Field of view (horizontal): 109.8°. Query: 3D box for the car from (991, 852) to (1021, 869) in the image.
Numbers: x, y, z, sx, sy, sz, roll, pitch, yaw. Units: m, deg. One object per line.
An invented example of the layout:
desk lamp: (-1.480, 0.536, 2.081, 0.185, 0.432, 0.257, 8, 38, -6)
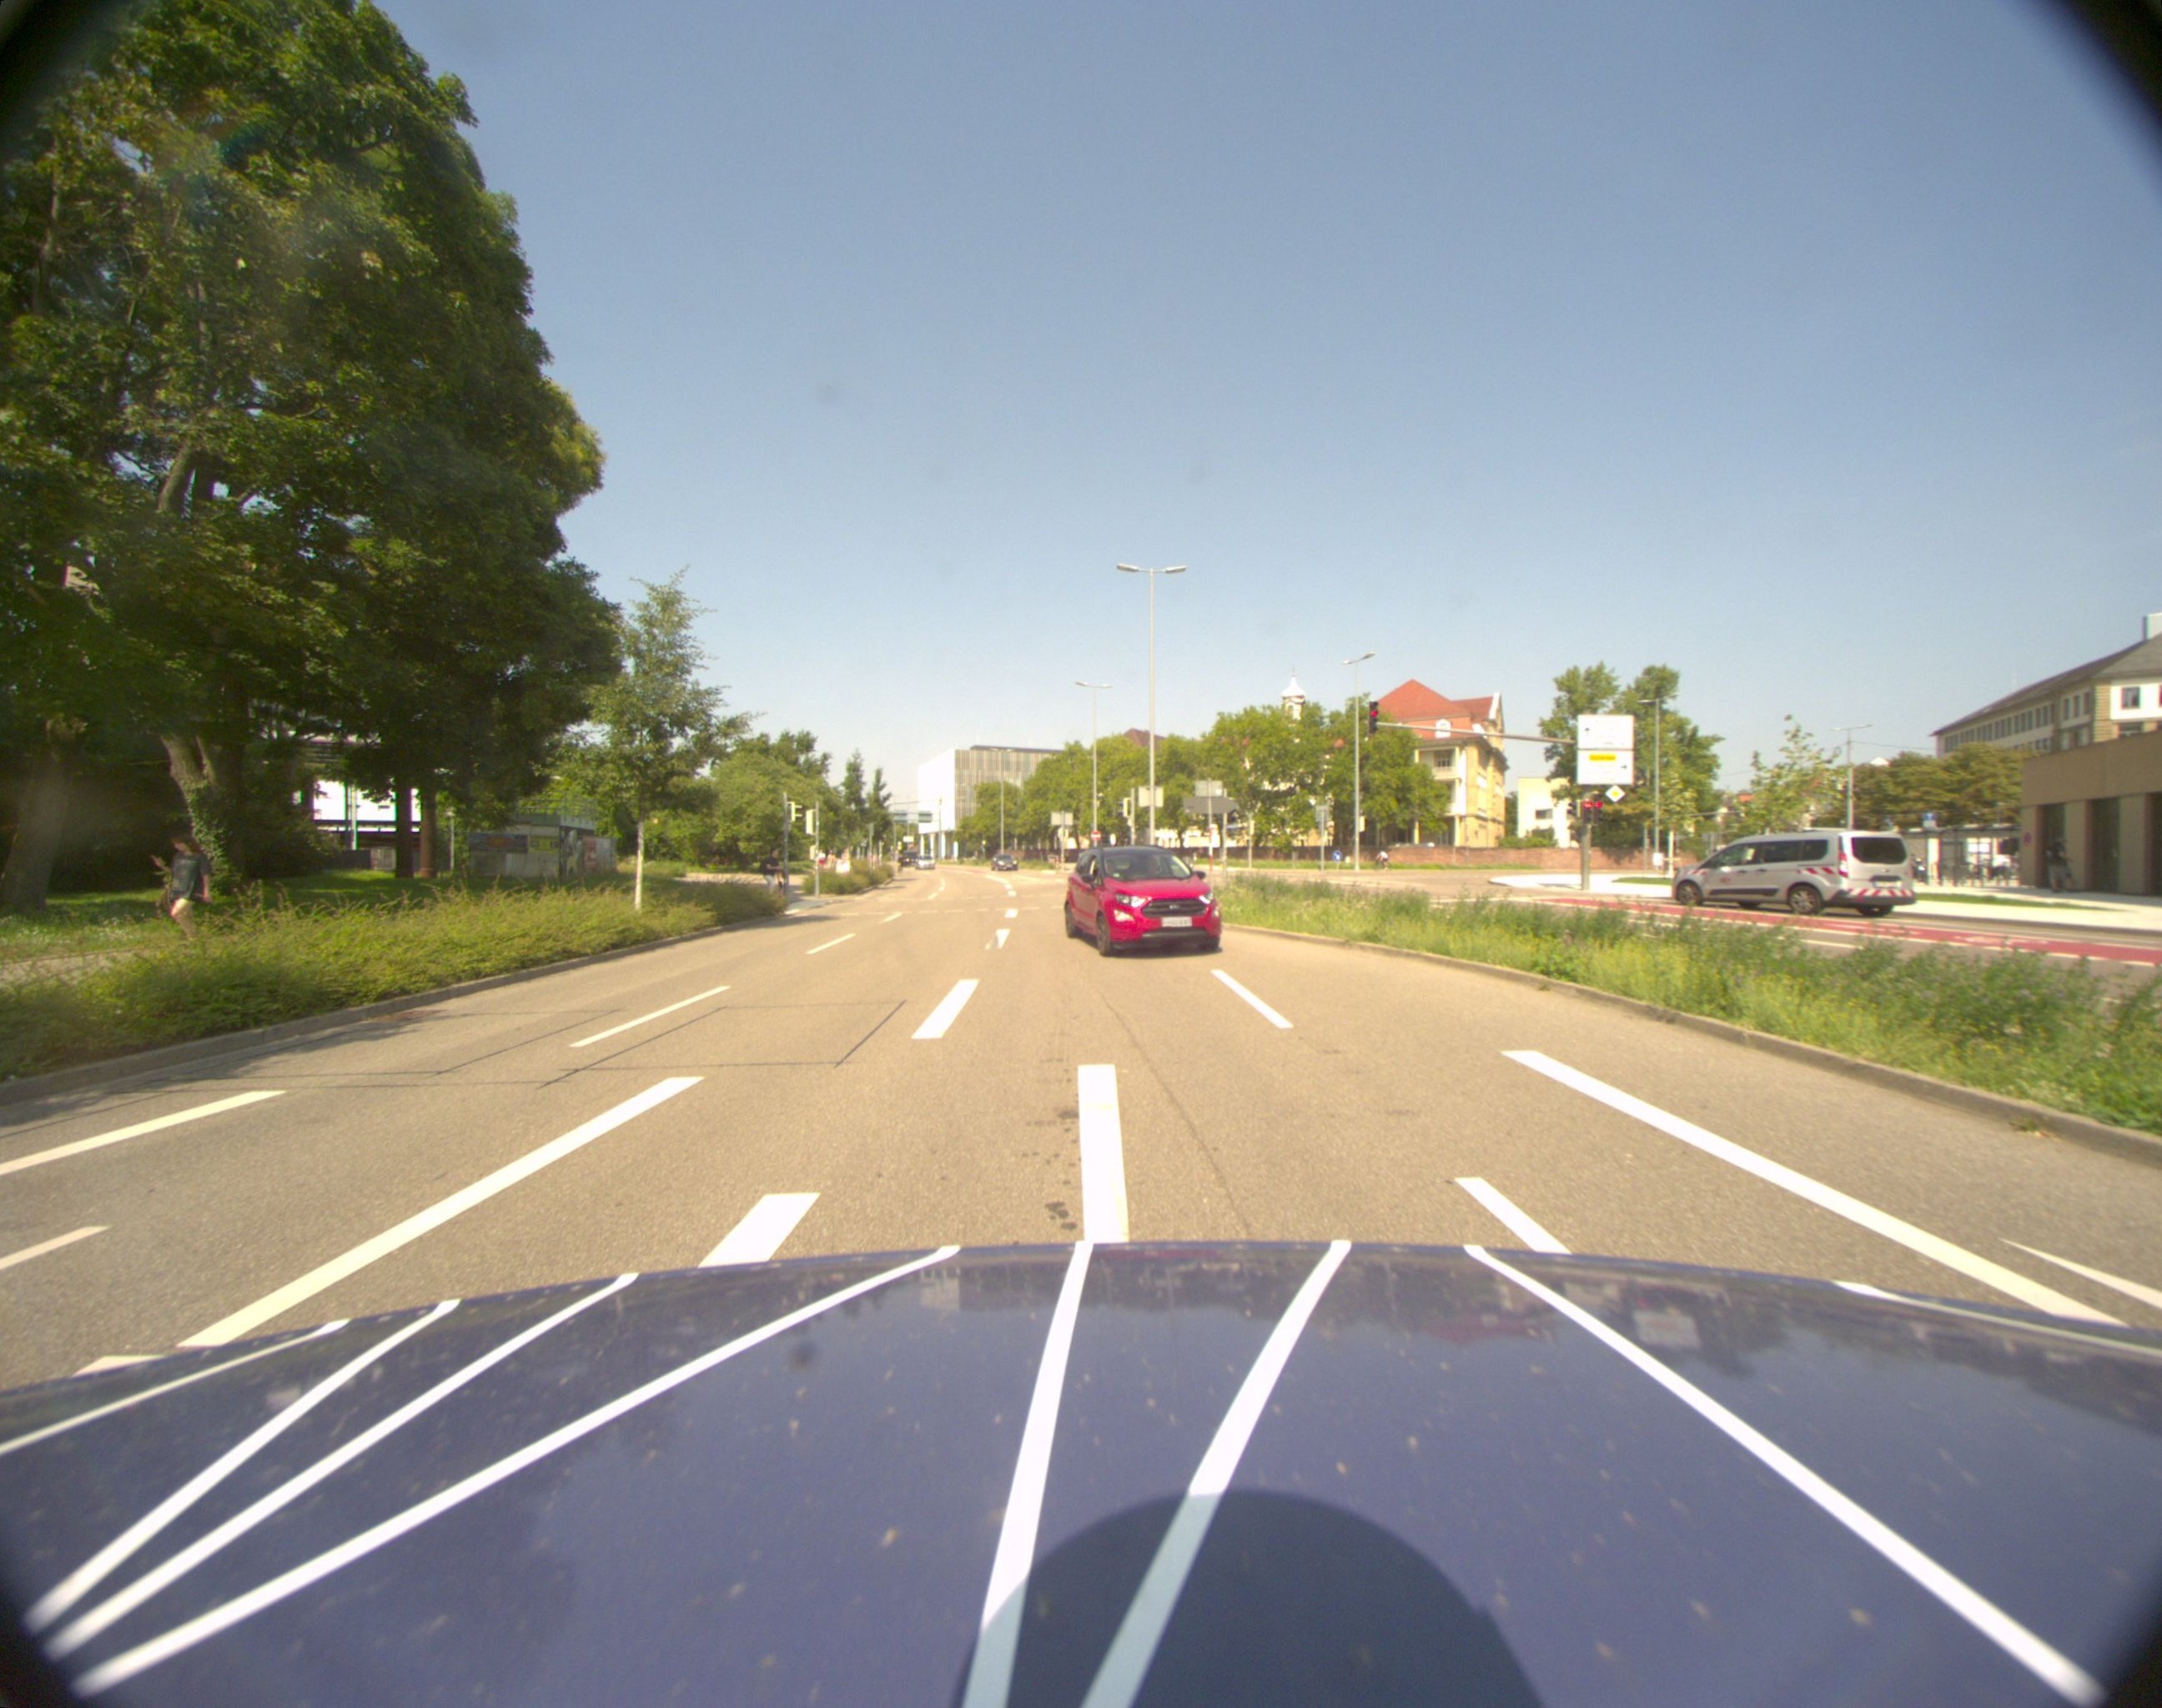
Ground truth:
car: (-6.461, 0.523, 64.894, 1.793, 1.349, 3.418, -2, 1, -18)

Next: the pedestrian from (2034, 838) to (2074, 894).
pedestrian: (29.106, 0.356, 22.739, 0.567, 1.668, 0.537, 1, 1, 32)

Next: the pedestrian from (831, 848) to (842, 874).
pedestrian: (-16.494, 0.450, 51.239, 0.694, 1.761, 0.586, 0, 1, -17)

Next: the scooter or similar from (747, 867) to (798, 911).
scooter or similar: (-9.196, 1.034, 22.660, 1.365, 1.227, 0.586, 1, 1, 18)

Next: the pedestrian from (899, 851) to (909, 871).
pedestrian: (-14.534, 0.552, 62.515, 0.781, 1.659, 0.548, 0, 1, -18)

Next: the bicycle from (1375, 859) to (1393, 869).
bicycle: (24.301, 0.786, 60.911, 1.488, 0.807, 0.436, 0, 1, -24)

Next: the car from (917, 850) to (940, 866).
car: (-16.060, 0.428, 79.892, 2.002, 1.669, 3.993, 0, 0, -18)

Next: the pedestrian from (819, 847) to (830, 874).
pedestrian: (-17.172, 0.430, 50.888, 0.694, 1.761, 0.586, 0, 1, -17)

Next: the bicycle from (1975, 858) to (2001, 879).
bicycle: (46.033, 0.731, 38.560, 0.411, 1.034, 1.644, 1, 1, 35)

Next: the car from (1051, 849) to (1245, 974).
car: (0.868, 0.755, 12.304, 1.846, 1.605, 3.994, -2, 1, -15)

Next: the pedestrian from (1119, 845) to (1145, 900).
pedestrian: (1.601, 0.573, 23.793, 0.699, 1.685, 0.608, 1, 1, 12)

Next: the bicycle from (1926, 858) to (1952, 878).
bicycle: (46.143, 0.720, 40.885, 0.525, 1.034, 1.774, 1, 1, 35)

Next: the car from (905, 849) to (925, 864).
car: (-20.531, 0.335, 93.767, 2.002, 1.769, 3.993, 0, 0, -18)

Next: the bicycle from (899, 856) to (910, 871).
bicycle: (-14.562, 0.796, 62.615, 0.787, 1.205, 1.786, 0, 1, -17)

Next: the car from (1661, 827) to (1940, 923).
car: (15.994, 0.409, 17.296, 1.999, 1.849, 4.331, 2, 0, -5)

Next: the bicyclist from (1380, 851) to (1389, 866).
bicyclist: (24.323, 0.370, 60.912, 0.541, 1.226, 0.432, 0, 1, -24)

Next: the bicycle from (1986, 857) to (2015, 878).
bicycle: (48.351, 0.702, 39.967, 0.525, 1.034, 1.774, 1, 1, 35)

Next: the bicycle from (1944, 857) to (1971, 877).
bicycle: (46.755, 0.665, 40.530, 0.525, 1.034, 1.774, 1, 1, 35)

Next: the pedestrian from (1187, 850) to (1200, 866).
pedestrian: (14.197, 0.521, 95.624, 1.074, 2.002, 1.231, 0, 1, -41)

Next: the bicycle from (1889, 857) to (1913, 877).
bicycle: (45.185, 0.682, 41.869, 0.525, 1.076, 1.869, 1, 1, 35)

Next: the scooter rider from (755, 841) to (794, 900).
scooter rider: (-9.146, 0.482, 22.692, 0.803, 1.729, 0.690, 1, 1, 18)

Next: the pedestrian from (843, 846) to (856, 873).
pedestrian: (-15.111, 0.340, 49.636, 0.794, 1.758, 0.825, 0, 1, -18)

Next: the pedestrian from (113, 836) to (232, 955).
pedestrian: (-13.490, 0.596, 11.315, 0.708, 1.695, 0.878, 2, 1, -5)
